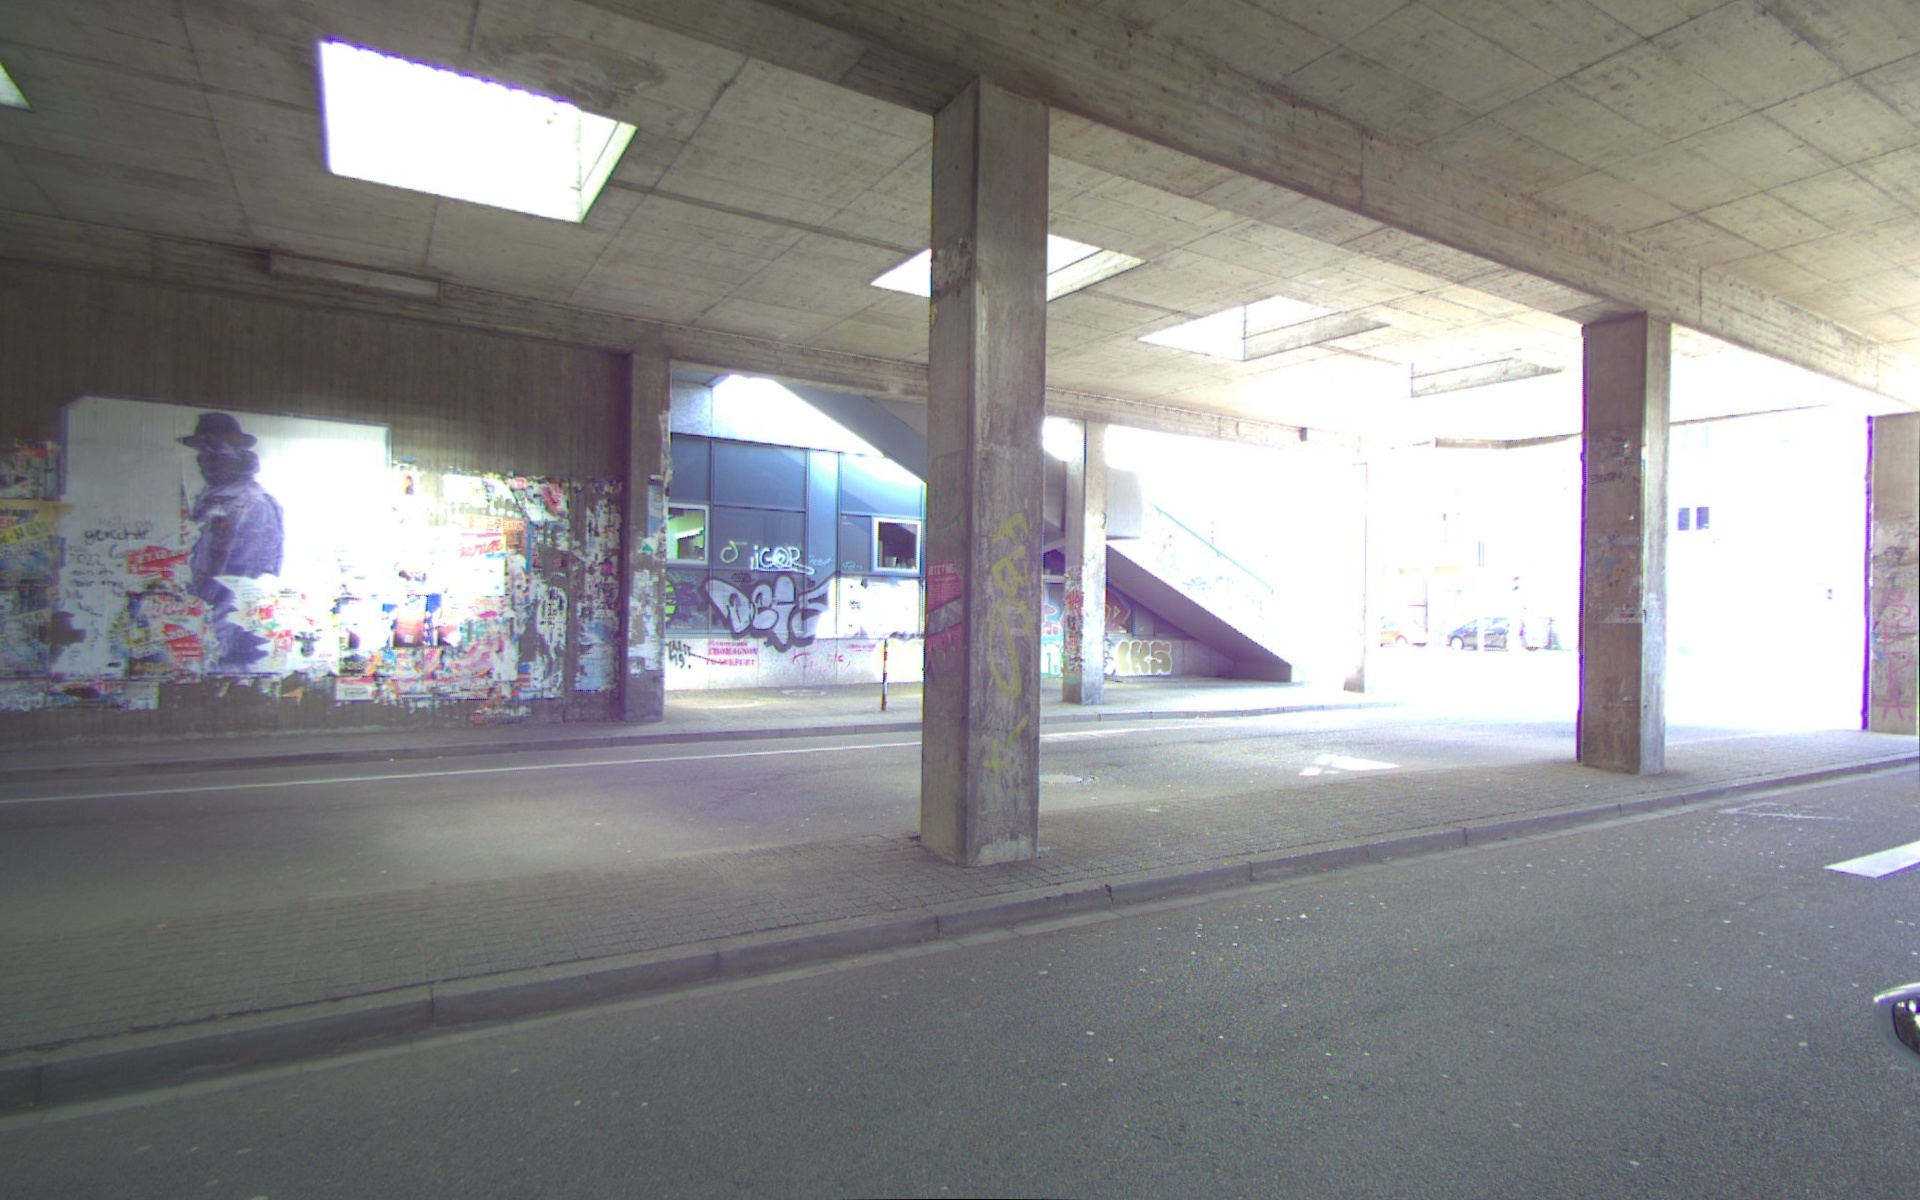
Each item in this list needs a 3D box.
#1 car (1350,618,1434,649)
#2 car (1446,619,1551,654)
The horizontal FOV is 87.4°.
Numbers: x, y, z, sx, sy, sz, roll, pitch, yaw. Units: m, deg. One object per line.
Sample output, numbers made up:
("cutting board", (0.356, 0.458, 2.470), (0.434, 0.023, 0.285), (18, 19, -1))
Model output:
("car", (22.561, 1.734, 52.614), (1.730, 1.495, 3.741), (2, -1, -31))
("car", (25.473, 1.715, 47.659), (1.718, 1.495, 4.089), (2, -1, -31))
